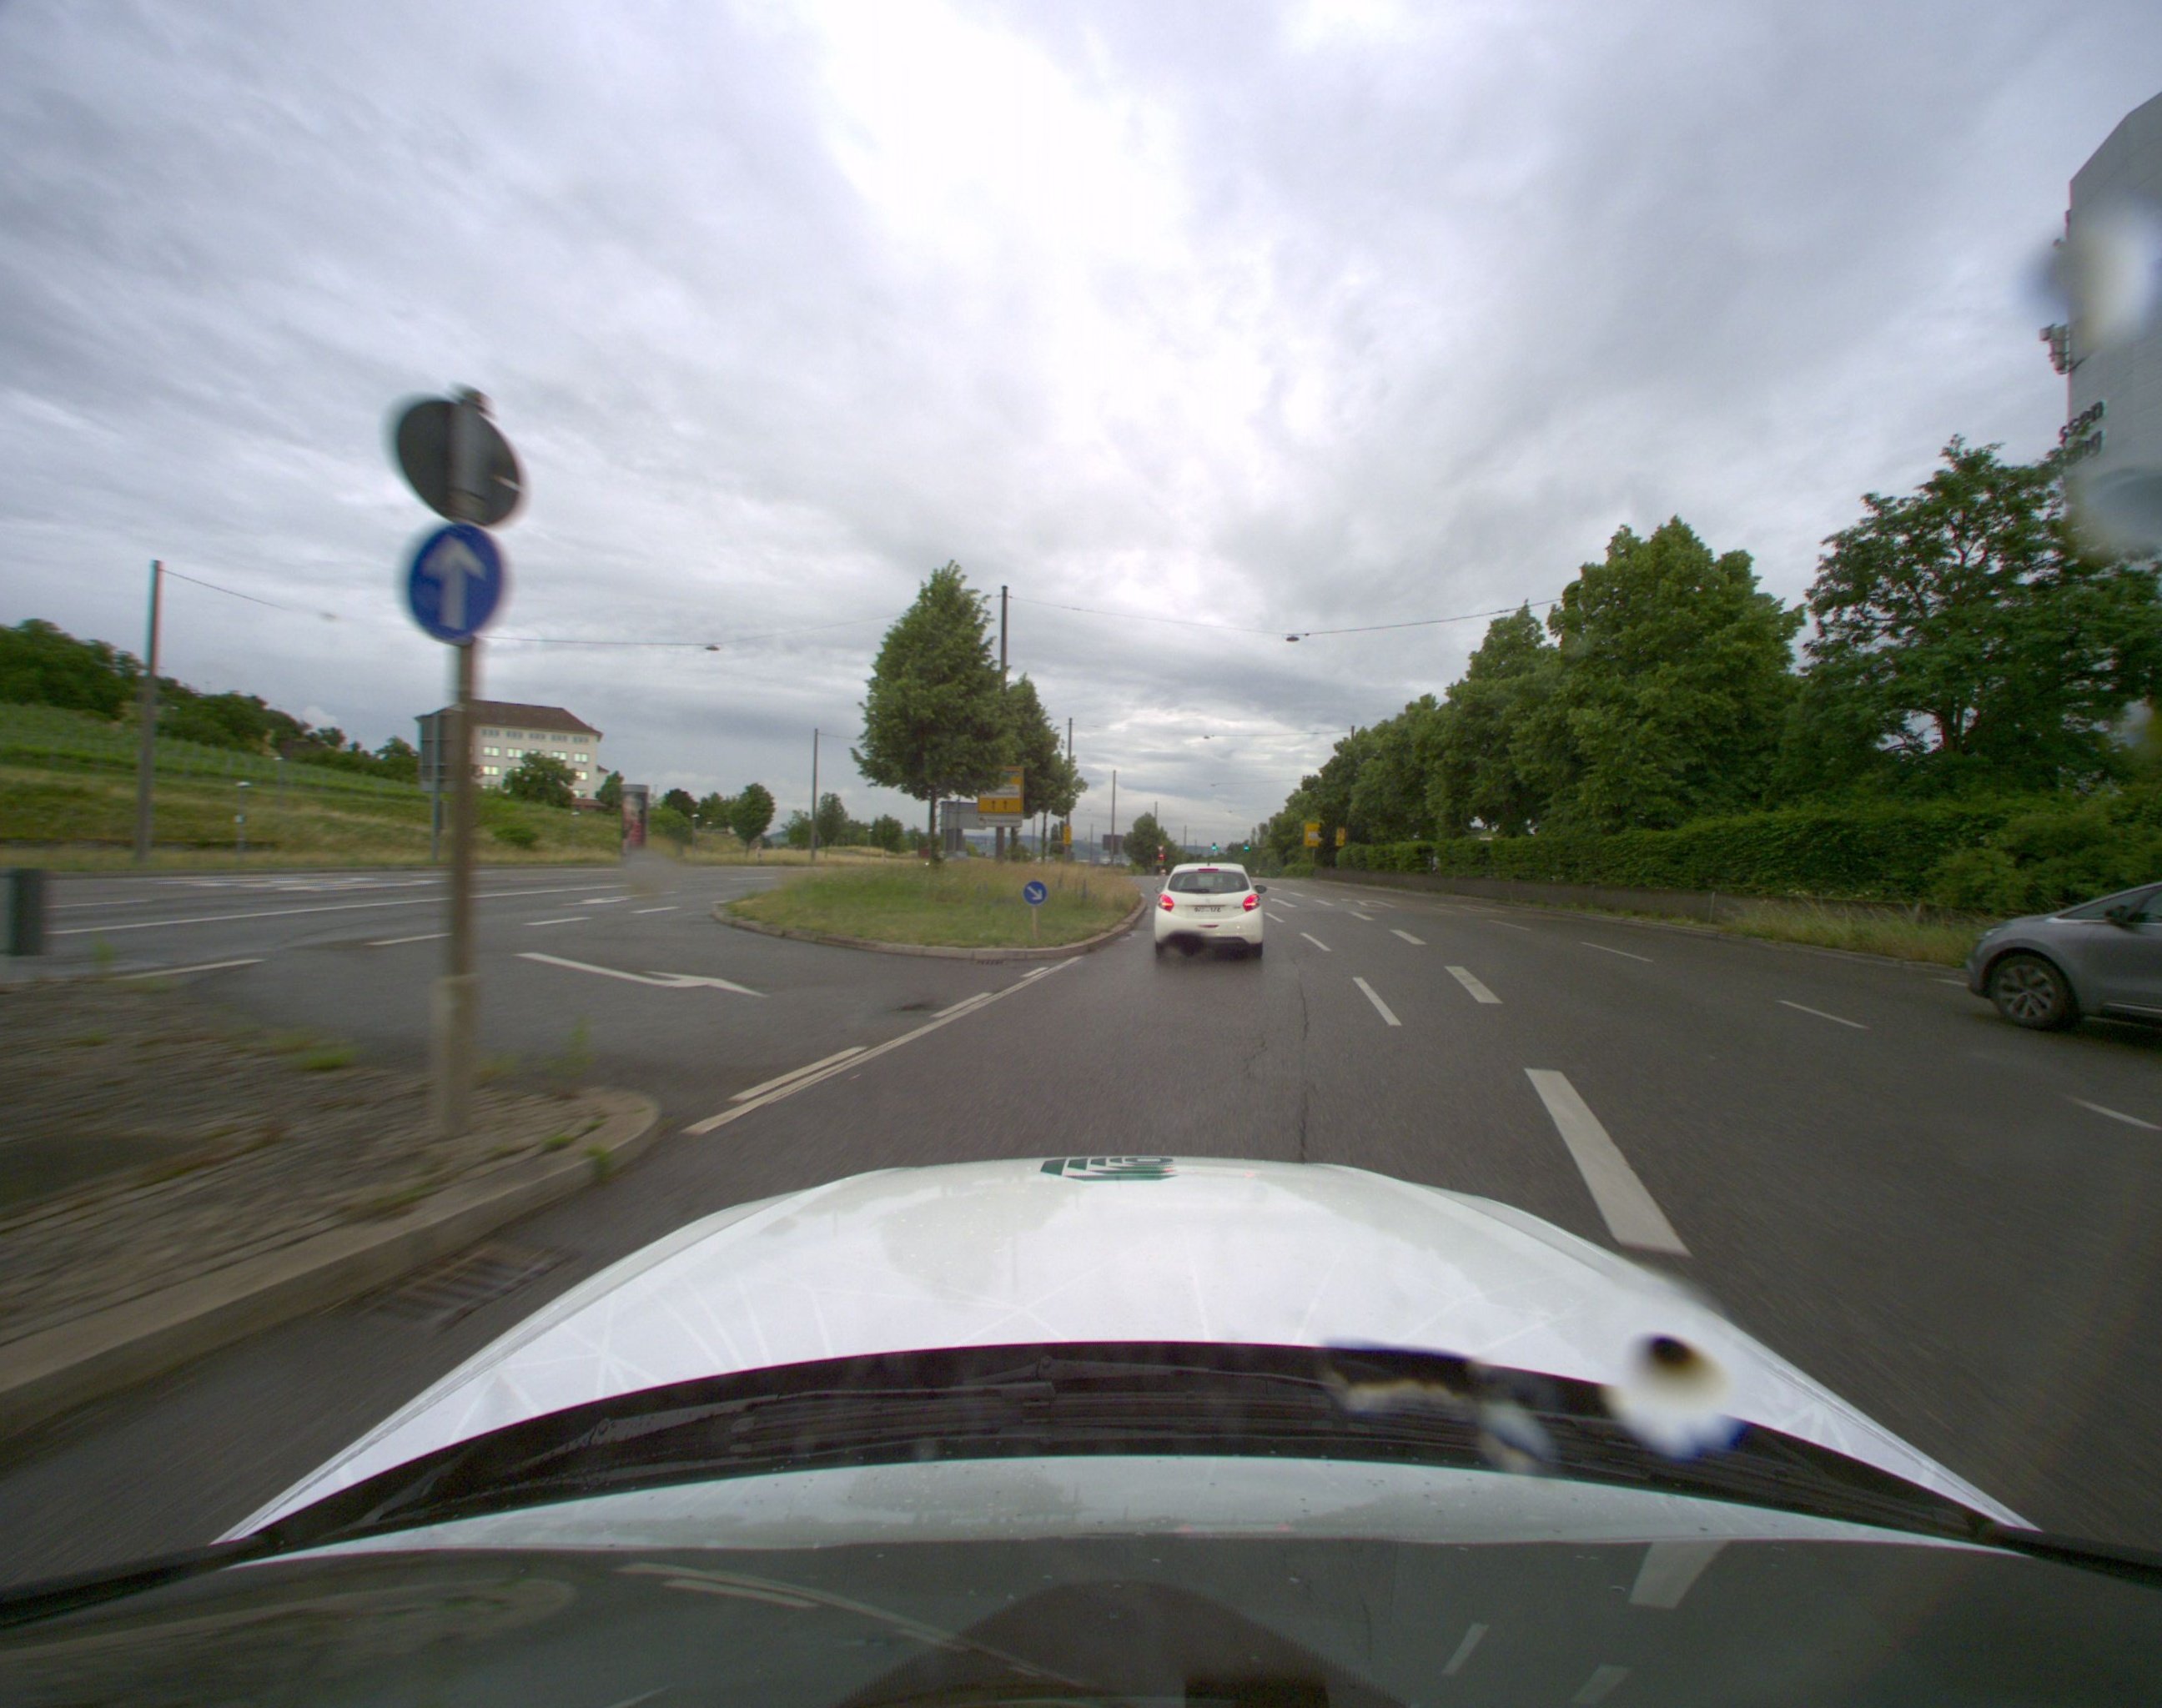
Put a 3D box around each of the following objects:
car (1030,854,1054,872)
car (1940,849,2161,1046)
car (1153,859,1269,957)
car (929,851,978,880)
[{"bbox_3d":[-3.974,0.867,83.035,1.758,1.750,4.007,1,0,6],"label":"car"},{"bbox_3d":[9.884,0.823,6.418,1.716,1.649,4.634,3,0,7],"label":"car"},{"bbox_3d":[2.098,0.828,13.922,1.700,1.440,3.696,-1,-1,5],"label":"car"},{"bbox_3d":[-7.718,0.660,49.645,1.869,1.654,4.363,1,0,5],"label":"car"}]
